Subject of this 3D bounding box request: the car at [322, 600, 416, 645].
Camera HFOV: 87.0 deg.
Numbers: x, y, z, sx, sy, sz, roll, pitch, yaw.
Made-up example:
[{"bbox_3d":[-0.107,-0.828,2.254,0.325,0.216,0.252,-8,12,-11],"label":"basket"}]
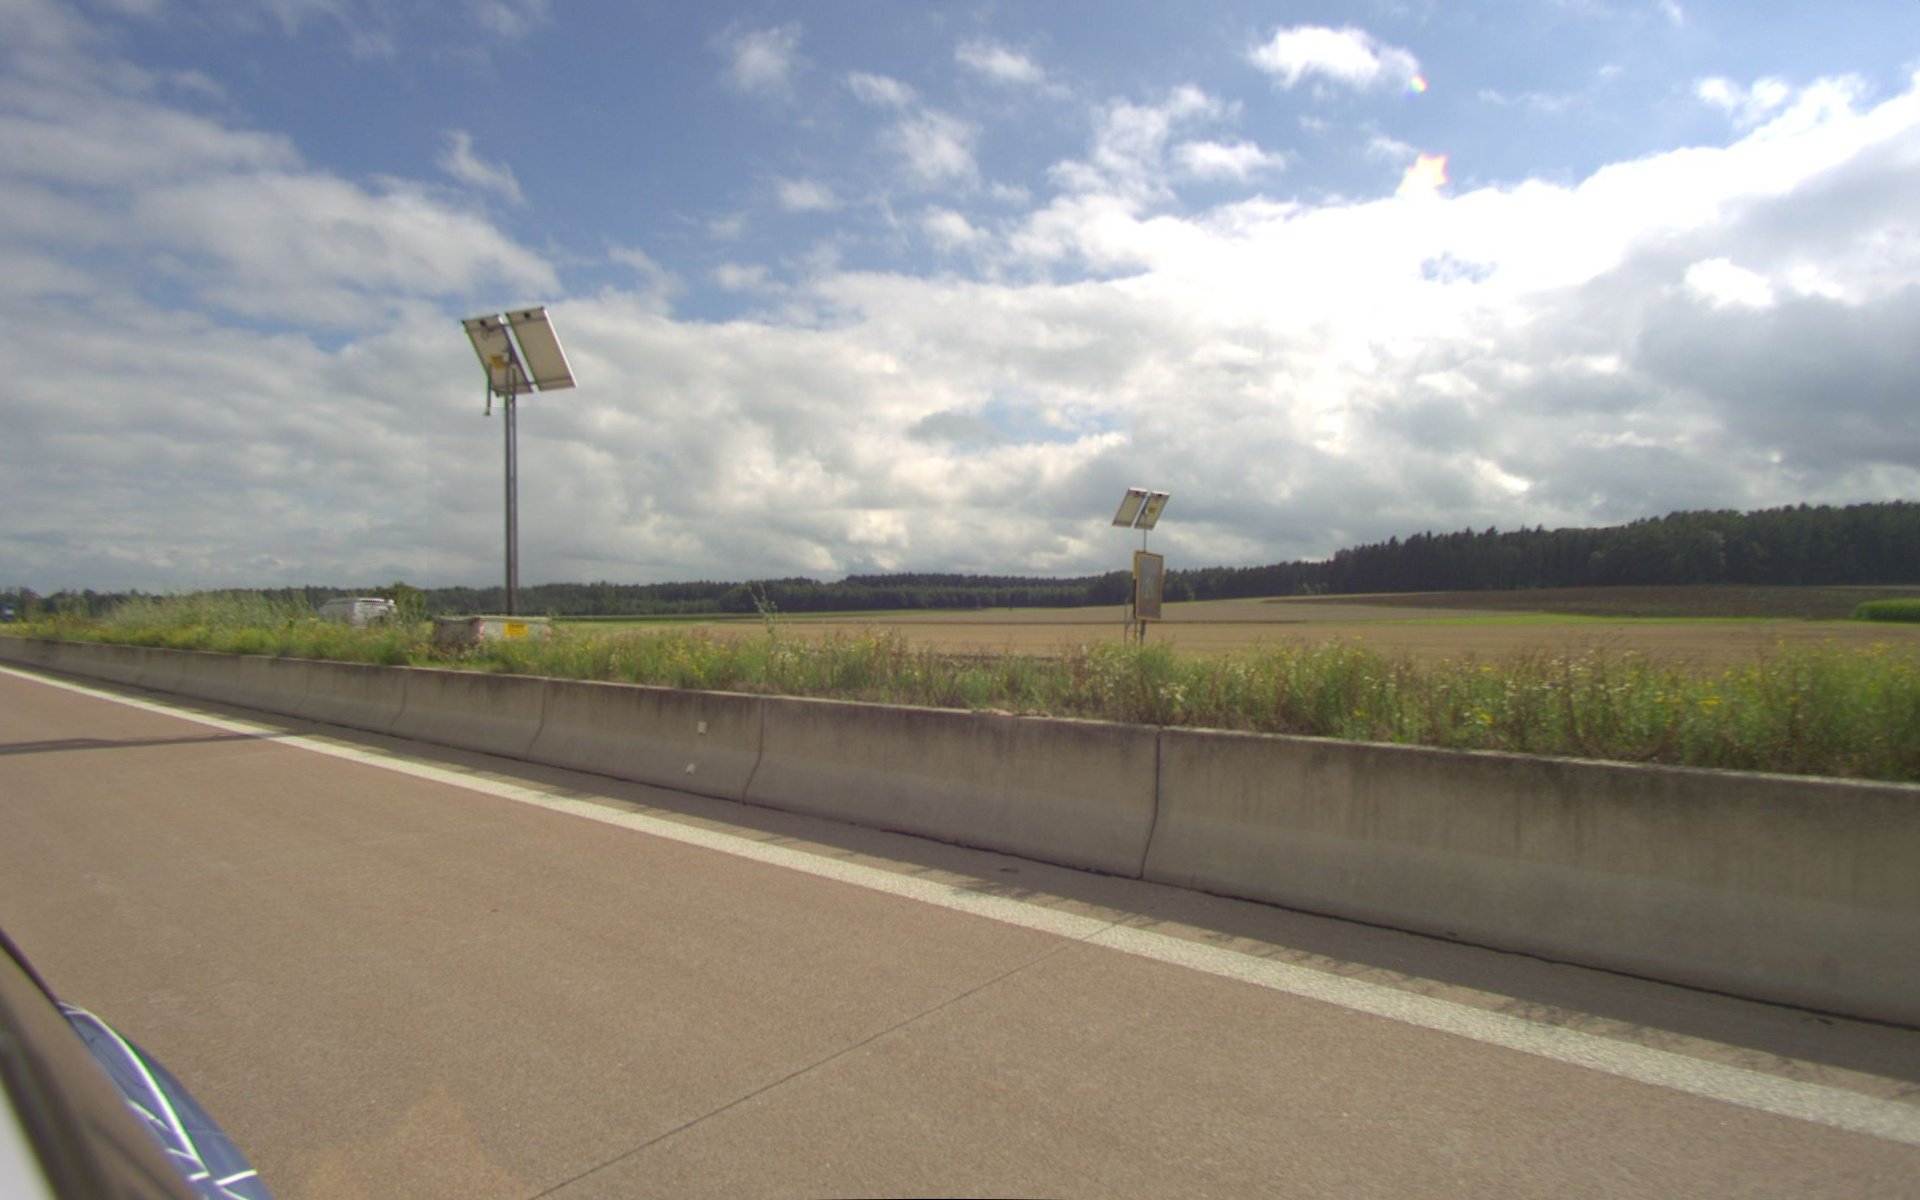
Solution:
[{"bbox_3d":[-26.969,1.050,46.107,5.701,1.927,2.035,-1,-3,42],"label":"car"}]
